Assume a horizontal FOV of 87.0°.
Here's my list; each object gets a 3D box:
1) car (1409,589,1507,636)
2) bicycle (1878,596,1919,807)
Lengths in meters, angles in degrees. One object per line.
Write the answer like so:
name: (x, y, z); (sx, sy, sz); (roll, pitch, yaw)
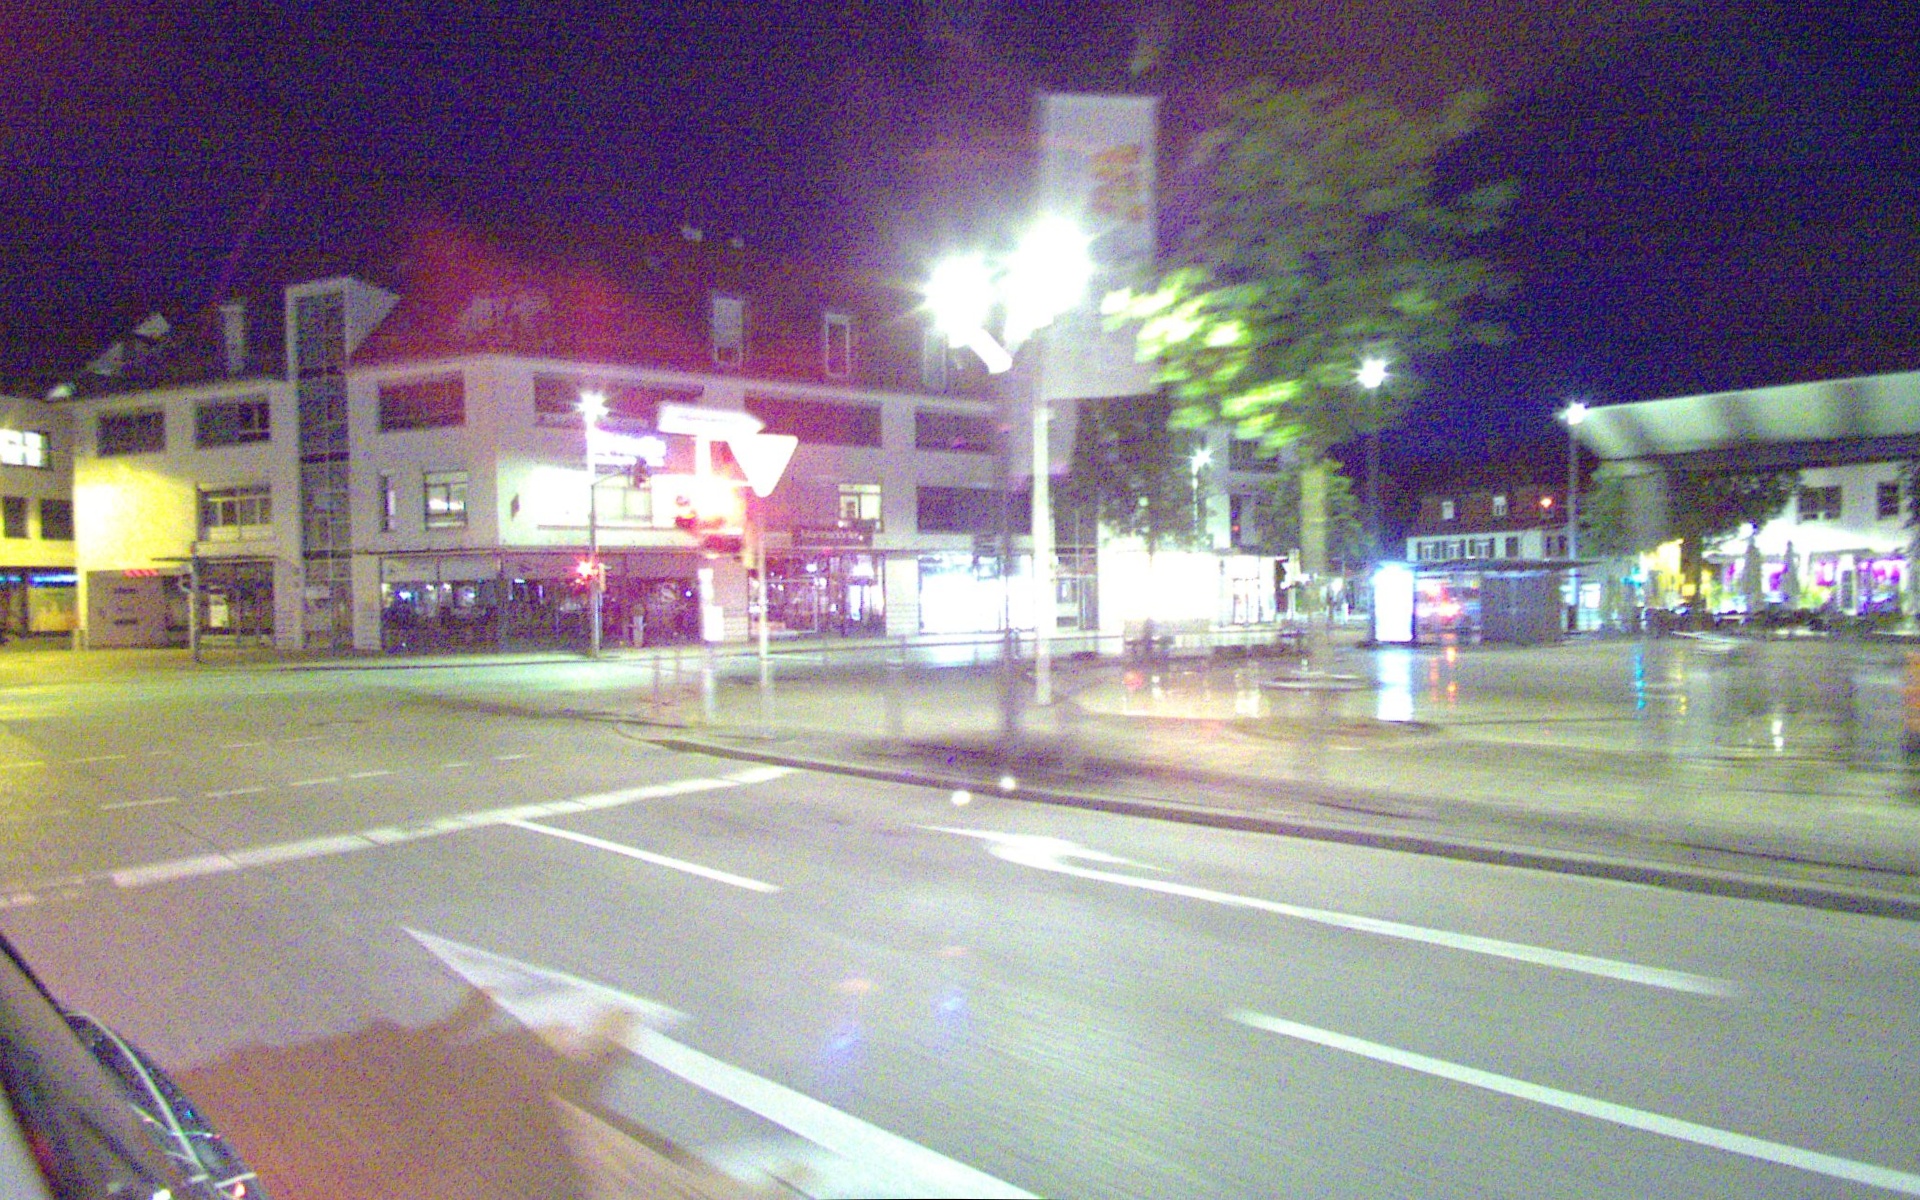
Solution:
car: (22.096, 0.551, 44.875); (4.345, 1.952, 1.965); (0, -2, -35)
bicycle: (6.466, 0.599, 6.470); (1.813, 1.166, 0.787); (-4, 2, -45)
